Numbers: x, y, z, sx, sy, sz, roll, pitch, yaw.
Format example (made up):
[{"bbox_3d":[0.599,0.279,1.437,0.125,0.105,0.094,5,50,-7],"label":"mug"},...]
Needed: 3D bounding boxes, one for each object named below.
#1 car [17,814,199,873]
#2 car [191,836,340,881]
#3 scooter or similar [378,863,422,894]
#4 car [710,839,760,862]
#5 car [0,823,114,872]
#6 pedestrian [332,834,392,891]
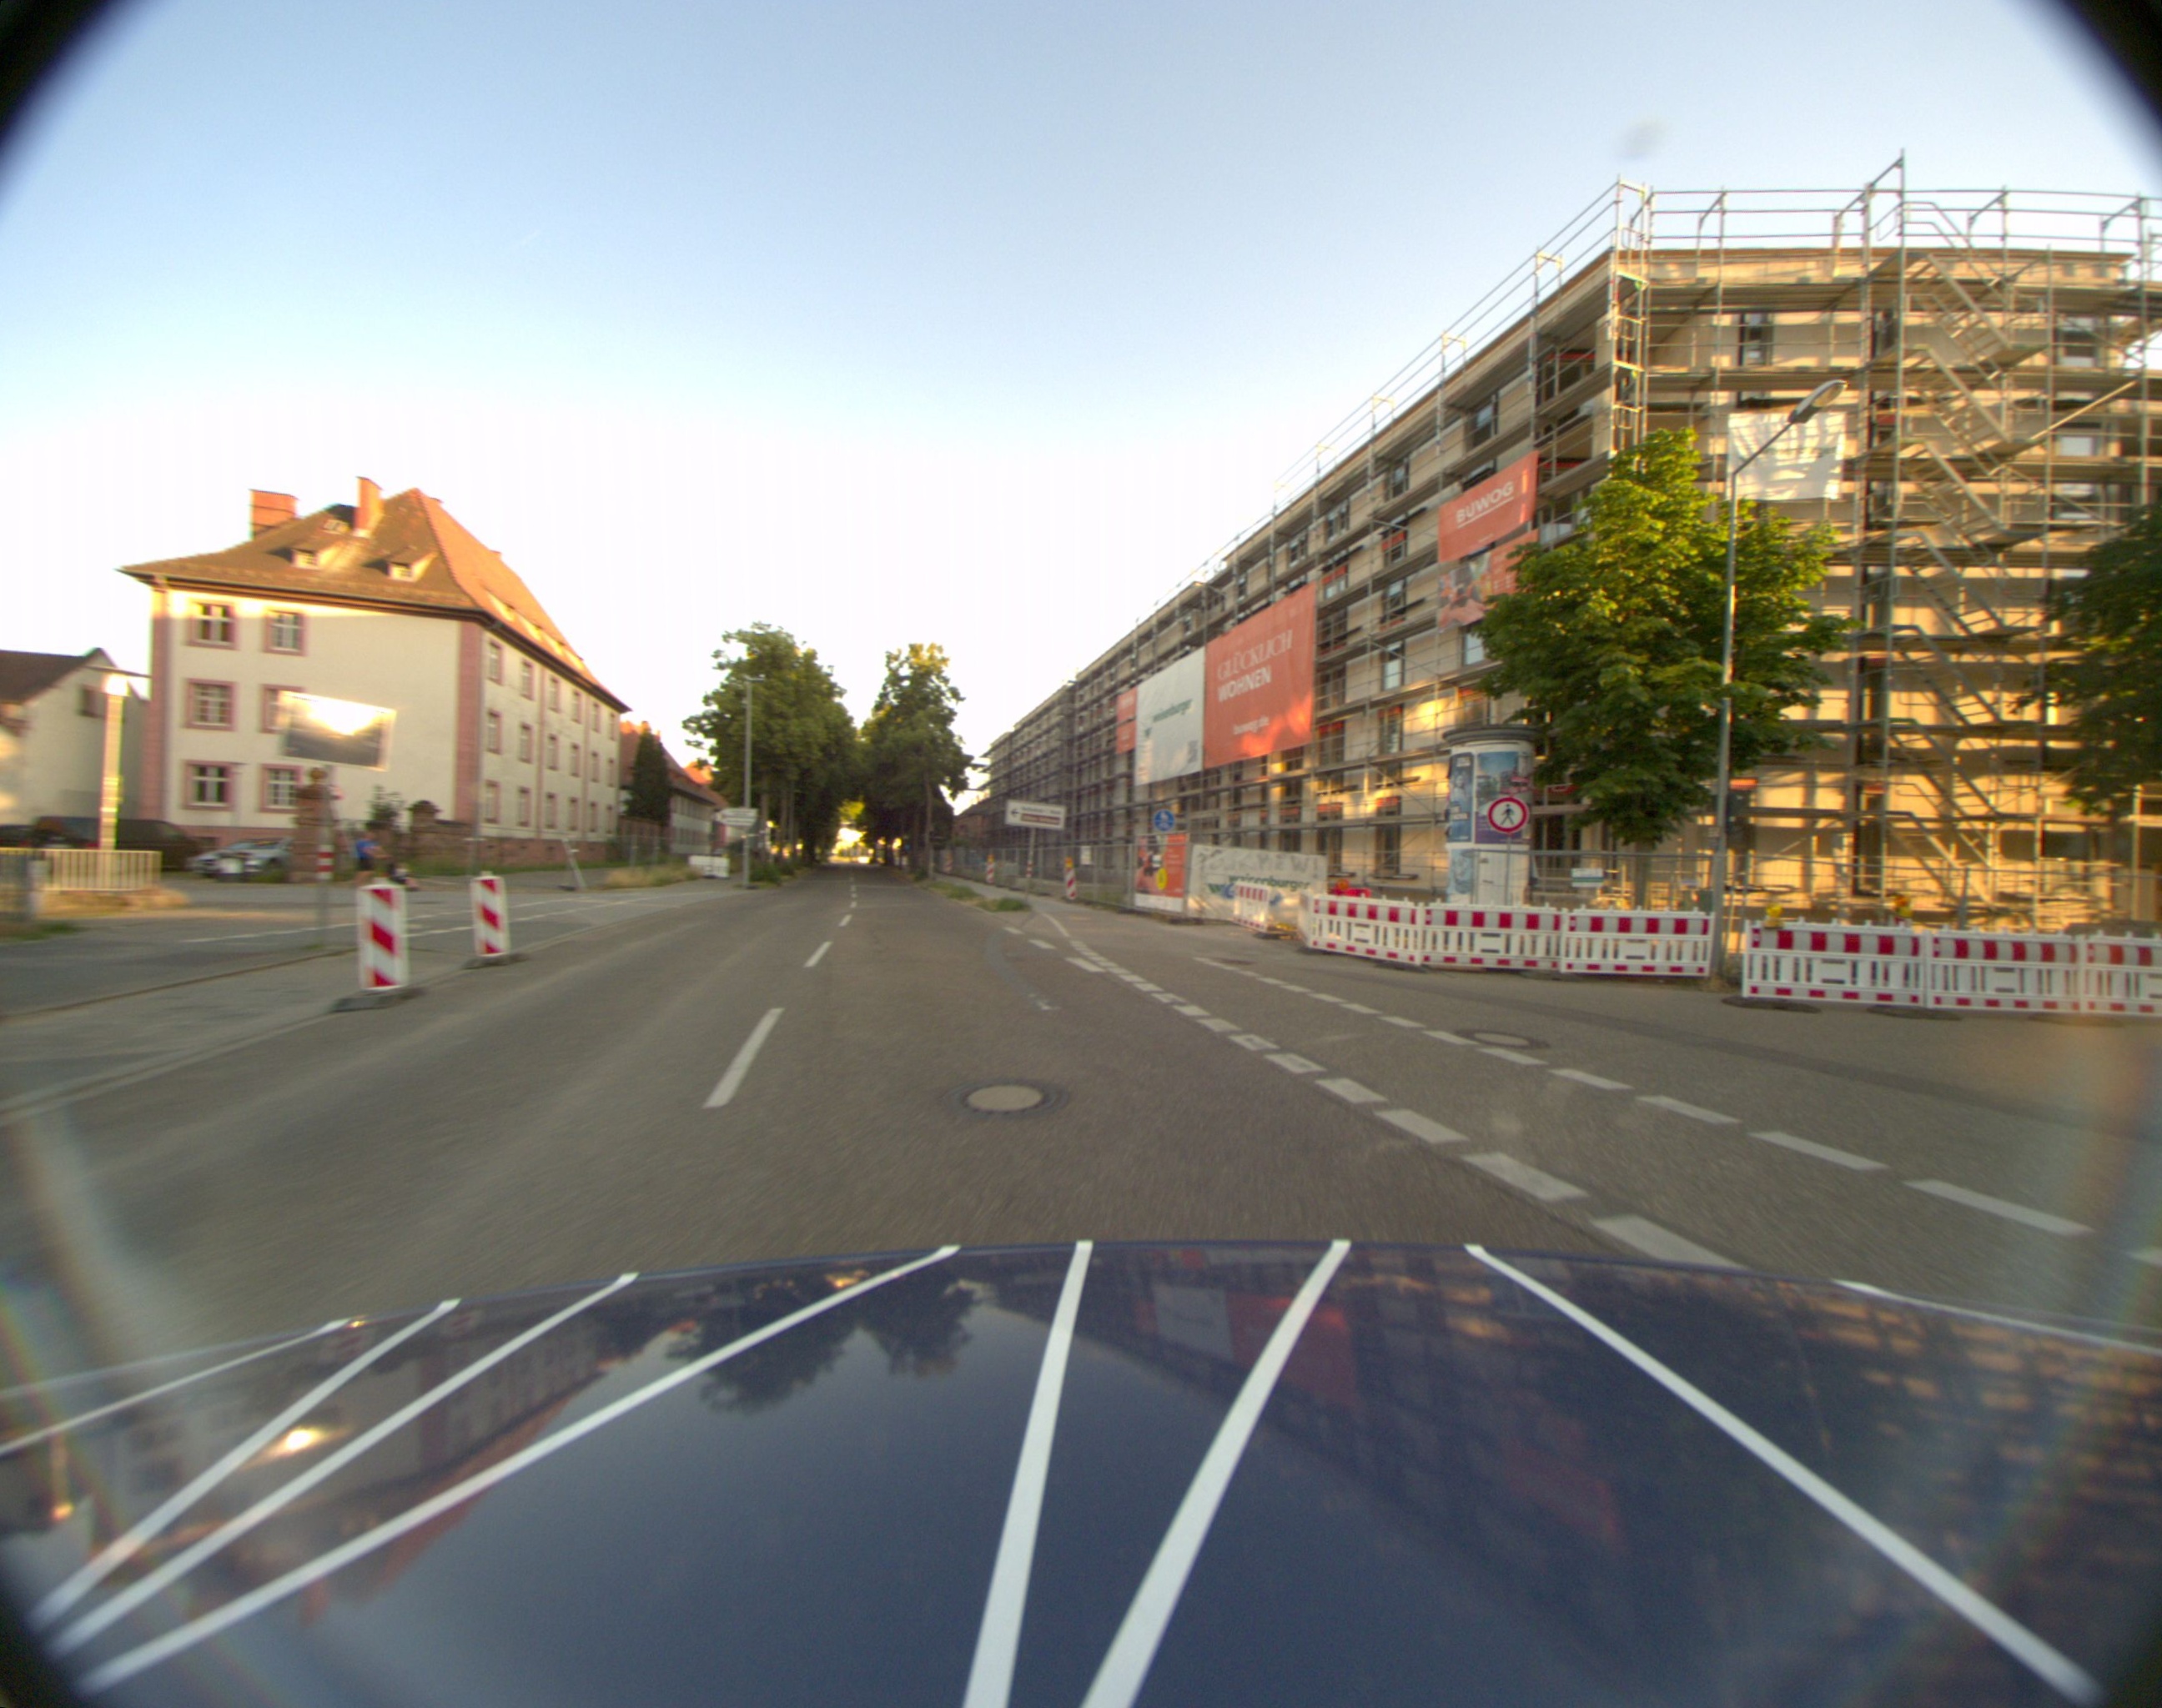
[{"bbox_3d":[-33.303,-0.322,26.215,2.002,1.847,3.993,1,0,-19],"label":"car"},{"bbox_3d":[-29.063,0.164,27.279,2.002,1.450,3.993,1,0,-19],"label":"car"},{"bbox_3d":[-20.261,0.737,22.618,0.807,0.885,0.514,1,0,-16],"label":"scooter or similar"},{"bbox_3d":[-32.144,-0.296,70.683,4.005,2.002,1.996,2,0,-21],"label":"car"},{"bbox_3d":[-36.161,-0.235,25.963,2.002,1.563,3.993,1,0,-19],"label":"car"},{"bbox_3d":[-21.182,0.252,22.399,1.015,1.632,0.751,1,0,-15],"label":"pedestrian"}]
